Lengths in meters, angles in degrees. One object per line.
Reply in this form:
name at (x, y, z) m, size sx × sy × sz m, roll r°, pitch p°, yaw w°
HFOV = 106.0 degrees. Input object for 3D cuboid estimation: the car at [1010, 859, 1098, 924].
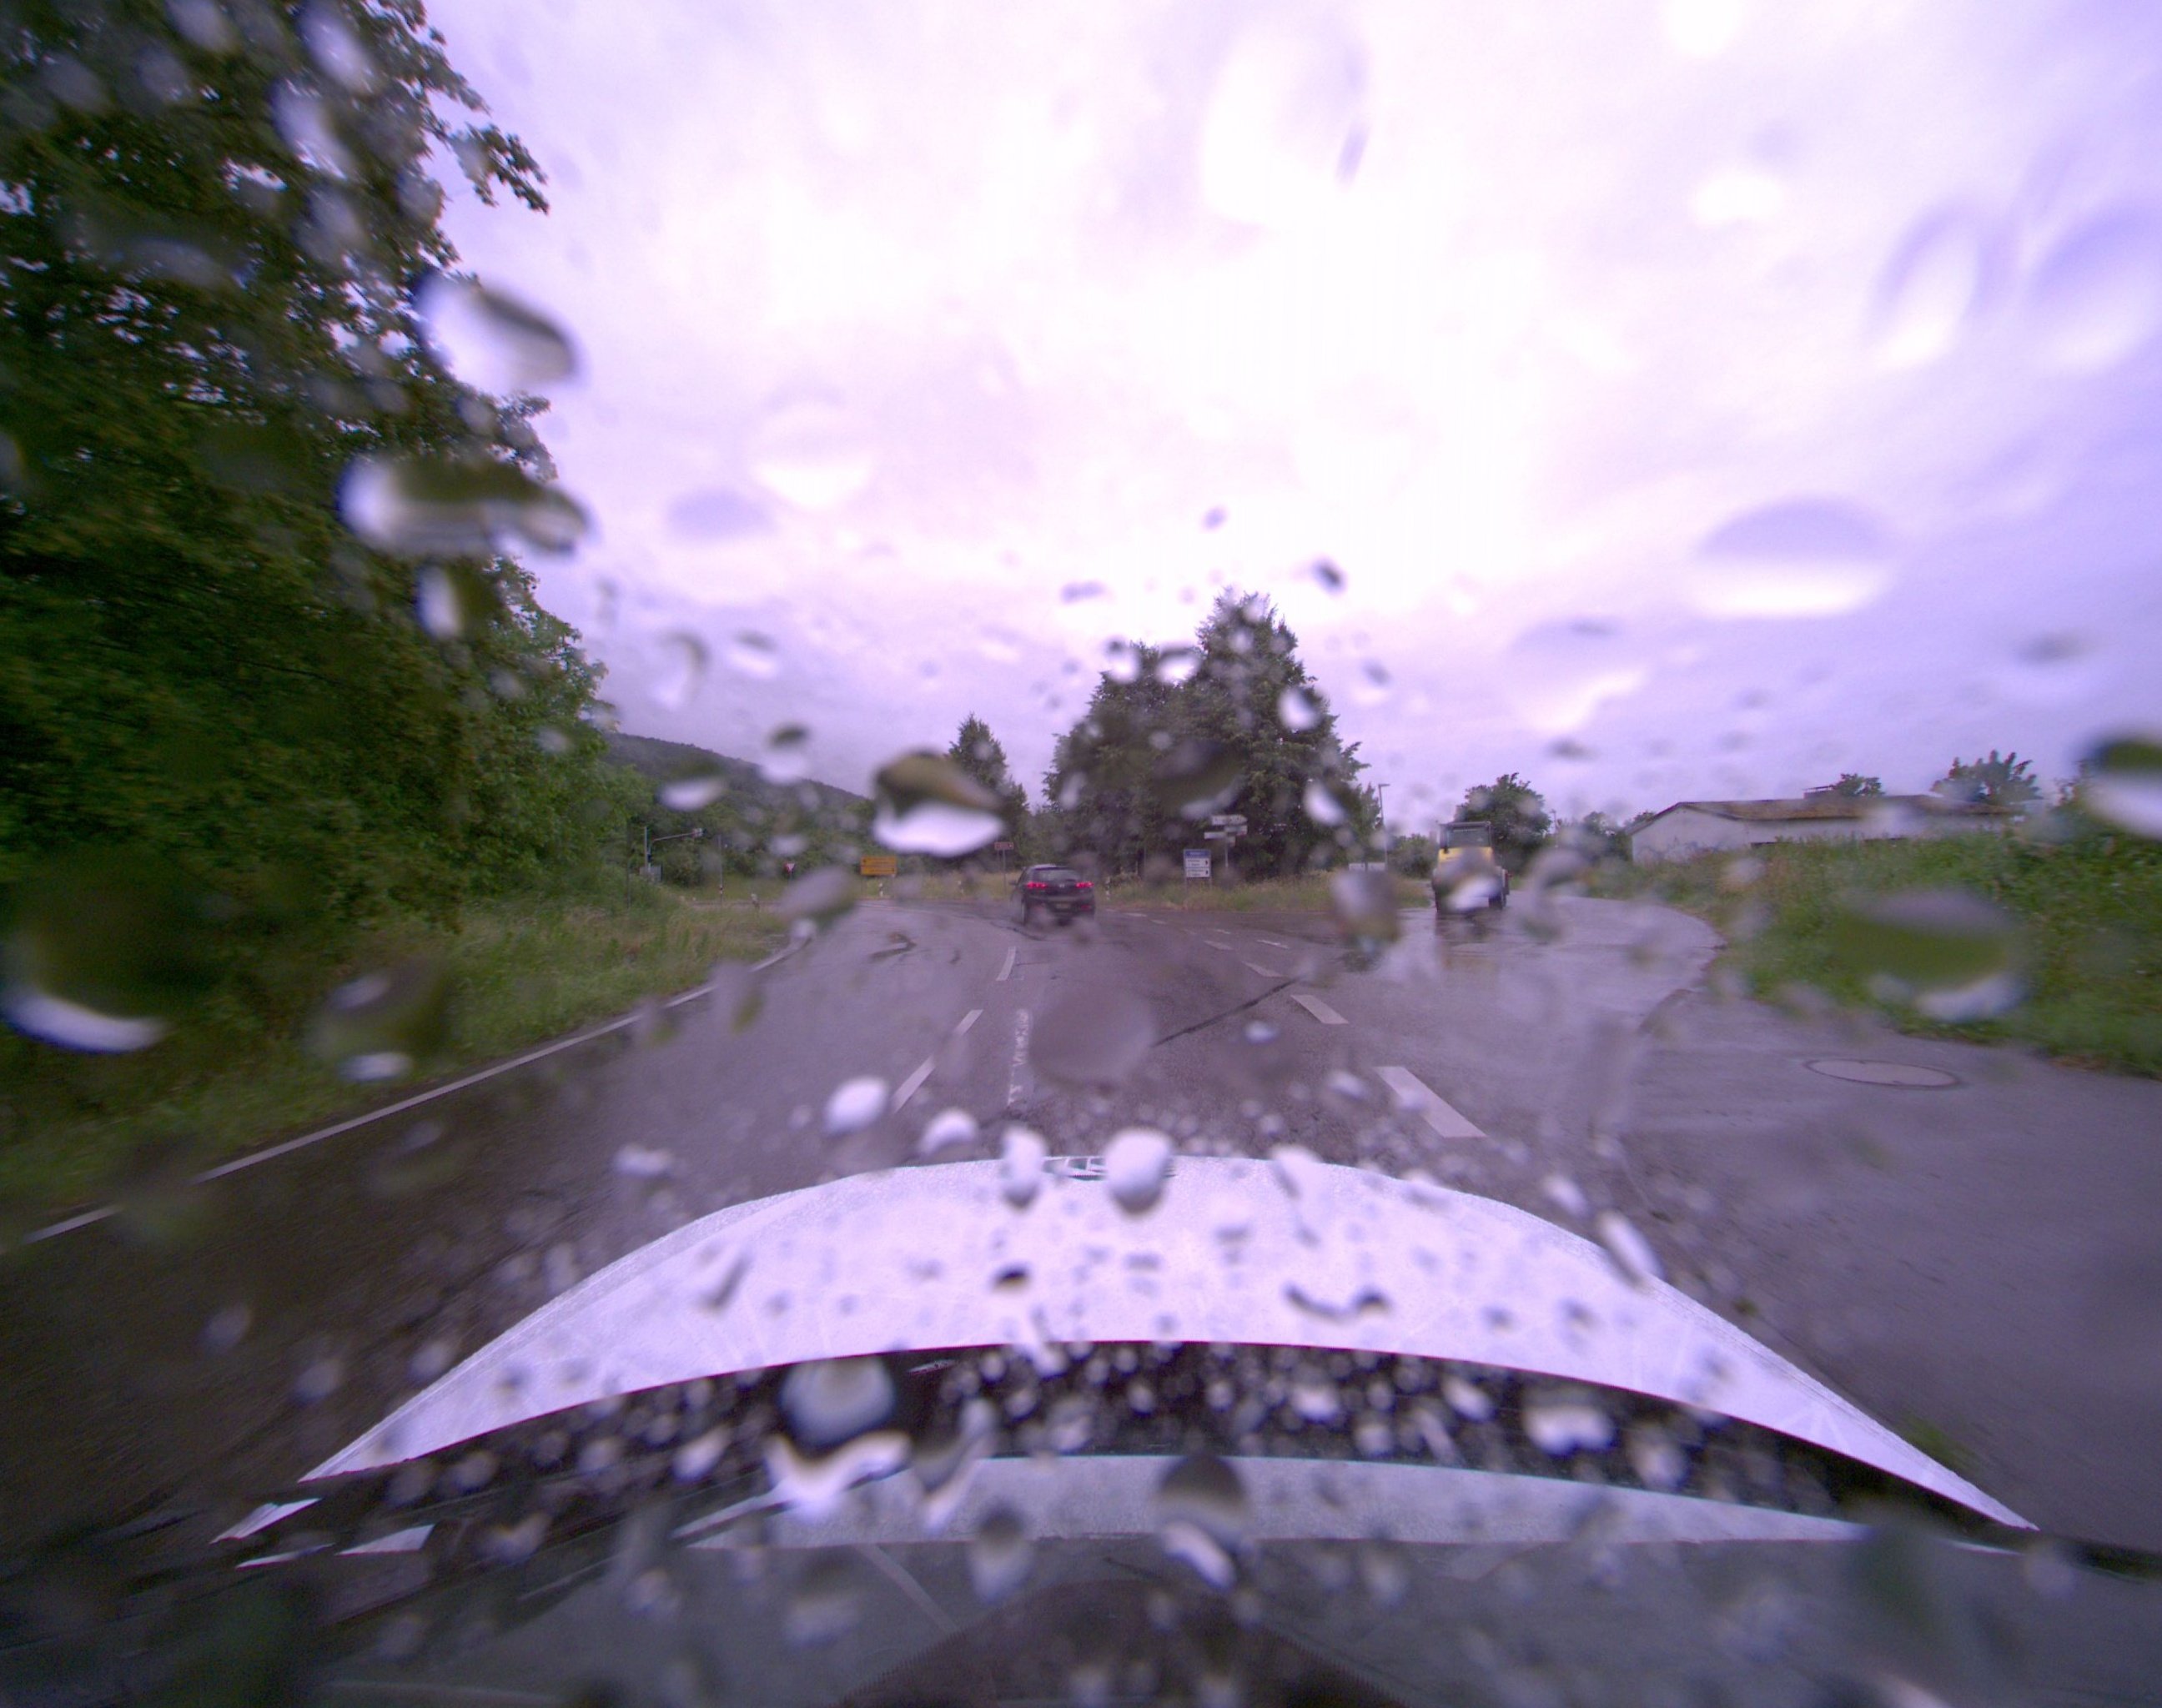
car at (-0.705, 0.916, 20.678) m, size 1.989 × 1.487 × 3.995 m, roll 0°, pitch -1°, yaw -3°

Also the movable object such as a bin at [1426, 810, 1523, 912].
movable object such as a bin at (12.119, 0.275, 24.795) m, size 2.224 × 2.670 × 6.666 m, roll -1°, pitch -2°, yaw 29°
